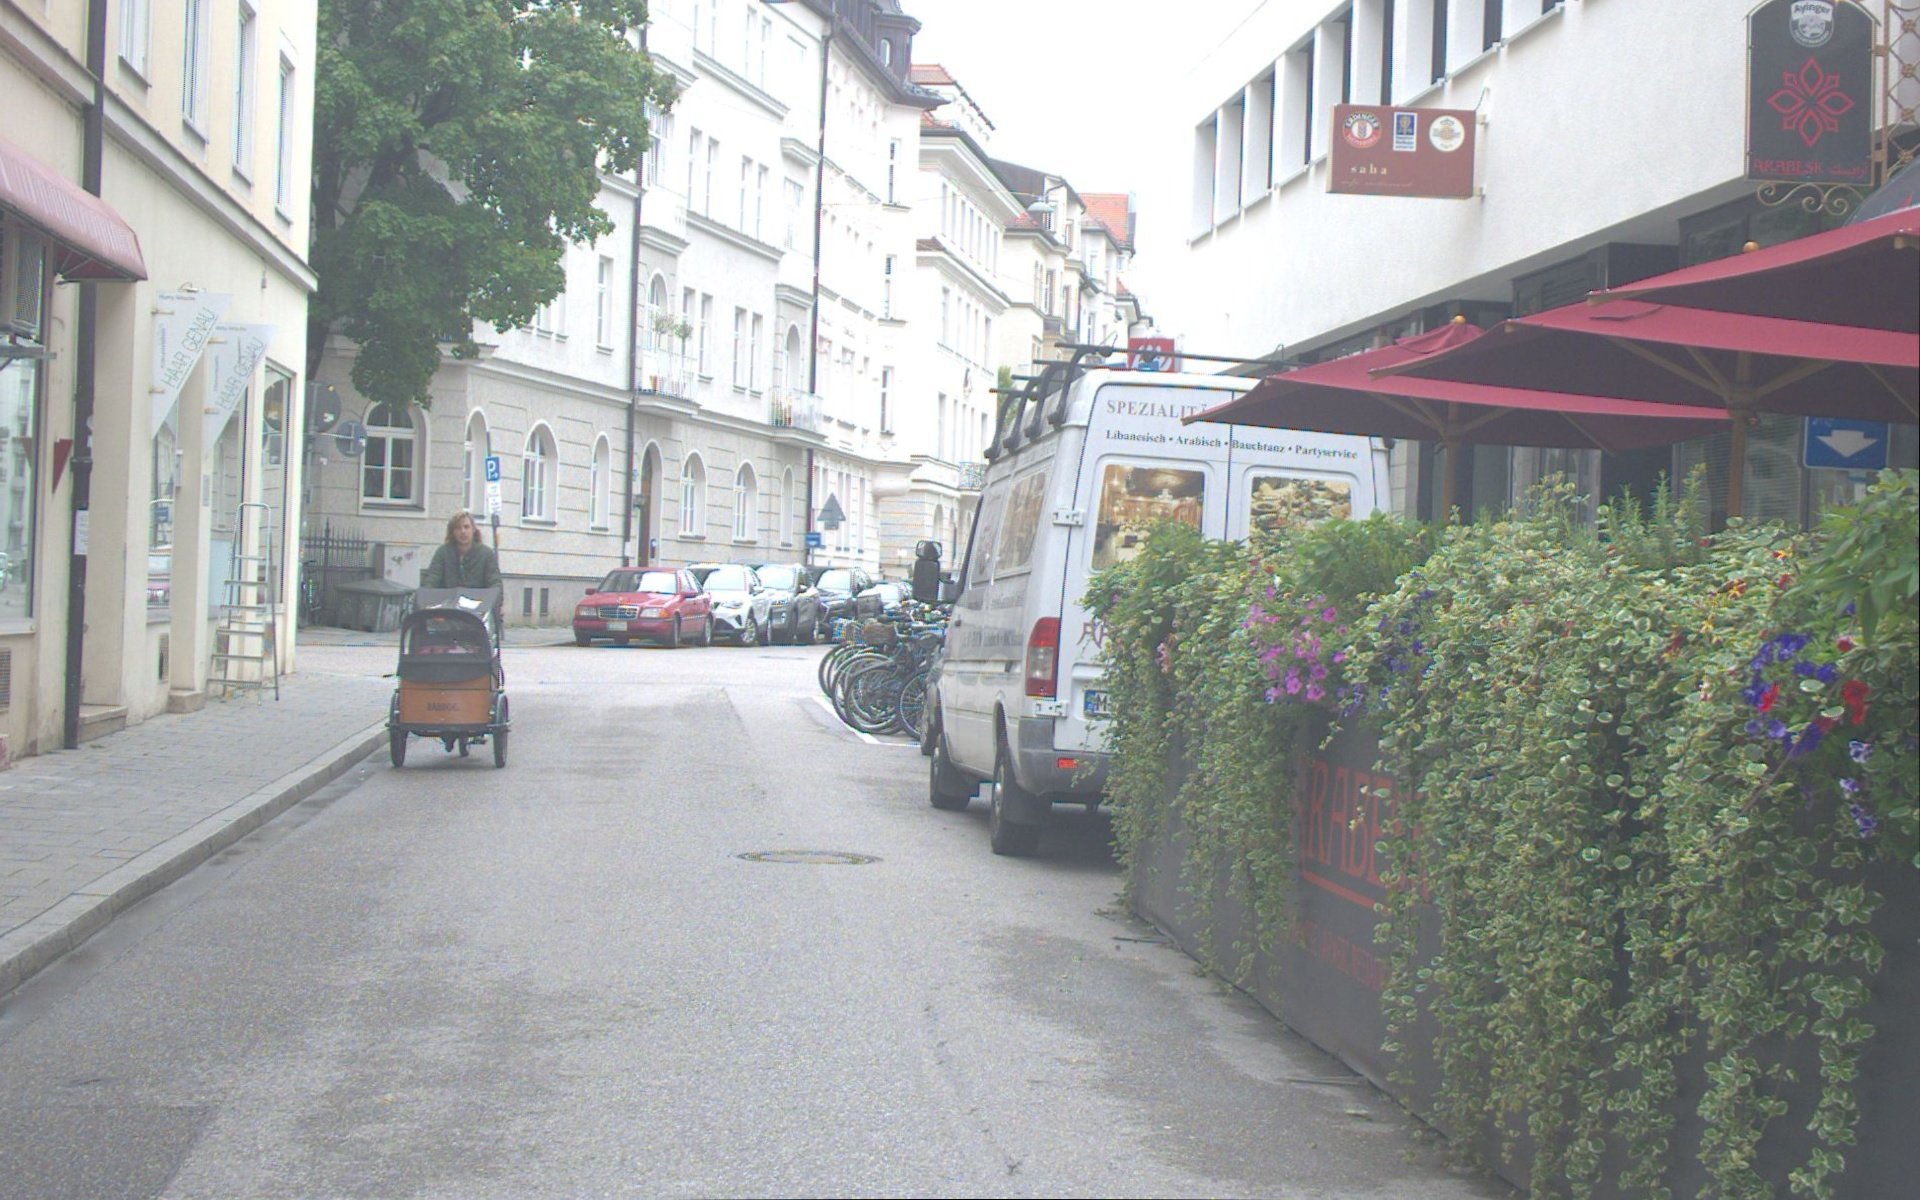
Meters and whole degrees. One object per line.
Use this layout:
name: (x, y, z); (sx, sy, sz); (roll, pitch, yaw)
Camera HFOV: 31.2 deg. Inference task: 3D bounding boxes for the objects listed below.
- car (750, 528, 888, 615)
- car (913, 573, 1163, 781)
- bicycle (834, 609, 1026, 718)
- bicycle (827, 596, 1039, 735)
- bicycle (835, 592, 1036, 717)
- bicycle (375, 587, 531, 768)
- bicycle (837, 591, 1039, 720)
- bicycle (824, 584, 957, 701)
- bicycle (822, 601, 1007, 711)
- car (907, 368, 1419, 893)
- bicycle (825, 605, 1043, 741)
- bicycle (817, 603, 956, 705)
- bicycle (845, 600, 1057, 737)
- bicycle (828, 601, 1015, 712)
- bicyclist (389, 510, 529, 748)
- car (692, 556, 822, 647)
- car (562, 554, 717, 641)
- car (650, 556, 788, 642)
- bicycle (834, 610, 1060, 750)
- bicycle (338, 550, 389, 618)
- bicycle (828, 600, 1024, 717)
car: (-3.018, -0.592, 74.521); (1.994, 1.732, 4.520); (3, 0, 10)
car: (0.549, 0.553, 27.042); (1.580, 1.459, 3.552); (2, 0, -4)
bicycle: (-0.309, 0.649, 35.069); (1.873, 1.048, 0.564); (2, -1, -8)
bicycle: (-0.257, 0.603, 31.774); (1.873, 1.200, 0.488); (2, 1, -6)
bicycle: (-0.243, 0.531, 33.792); (1.893, 1.166, 0.566); (2, 1, -7)
bicycle: (-3.701, 0.542, 25.284); (0.932, 1.253, 2.414); (1, 0, -4)
bicycle: (-0.217, 0.532, 33.195); (1.873, 1.200, 0.580); (1, 0, -7)
bicycle: (-0.806, 0.487, 39.666); (1.456, 1.281, 0.445); (3, 0, -3)
bicycle: (-0.478, 0.590, 36.196); (1.873, 1.076, 0.408); (2, 1, -8)
car: (0.966, 0.113, 20.022); (1.920, 2.497, 5.998); (3, 0, -6)
bicycle: (-0.243, 0.661, 31.254); (1.873, 1.104, 0.488); (4, 1, -7)
bicycle: (-0.831, 0.608, 38.651); (1.450, 1.066, 0.463); (3, 0, -12)
bicycle: (-0.092, 0.642, 32.472); (1.873, 1.153, 0.565); (4, 1, -7)
bicycle: (-0.404, 0.585, 35.761); (1.873, 1.076, 0.402); (2, 1, -8)
bicyclist: (-3.718, 0.207, 25.601); (0.926, 1.715, 1.099); (1, 0, -4)
car: (-4.049, 0.020, 69.098); (1.943, 1.696, 3.999); (3, 0, 5)
car: (-5.491, -0.044, 59.335); (1.731, 1.373, 4.225); (2, 0, 7)
car: (-4.482, -0.024, 64.524); (1.994, 1.468, 4.218); (2, 0, 4)
bicycle: (-0.121, 0.699, 30.304); (1.873, 1.076, 0.488); (4, 1, -7)
bicycle: (-10.015, -0.278, 57.741); (0.493, 1.049, 1.827); (2, 2, 0)
bicycle: (-0.345, 0.583, 34.360); (1.873, 1.091, 0.440); (2, 1, -8)
